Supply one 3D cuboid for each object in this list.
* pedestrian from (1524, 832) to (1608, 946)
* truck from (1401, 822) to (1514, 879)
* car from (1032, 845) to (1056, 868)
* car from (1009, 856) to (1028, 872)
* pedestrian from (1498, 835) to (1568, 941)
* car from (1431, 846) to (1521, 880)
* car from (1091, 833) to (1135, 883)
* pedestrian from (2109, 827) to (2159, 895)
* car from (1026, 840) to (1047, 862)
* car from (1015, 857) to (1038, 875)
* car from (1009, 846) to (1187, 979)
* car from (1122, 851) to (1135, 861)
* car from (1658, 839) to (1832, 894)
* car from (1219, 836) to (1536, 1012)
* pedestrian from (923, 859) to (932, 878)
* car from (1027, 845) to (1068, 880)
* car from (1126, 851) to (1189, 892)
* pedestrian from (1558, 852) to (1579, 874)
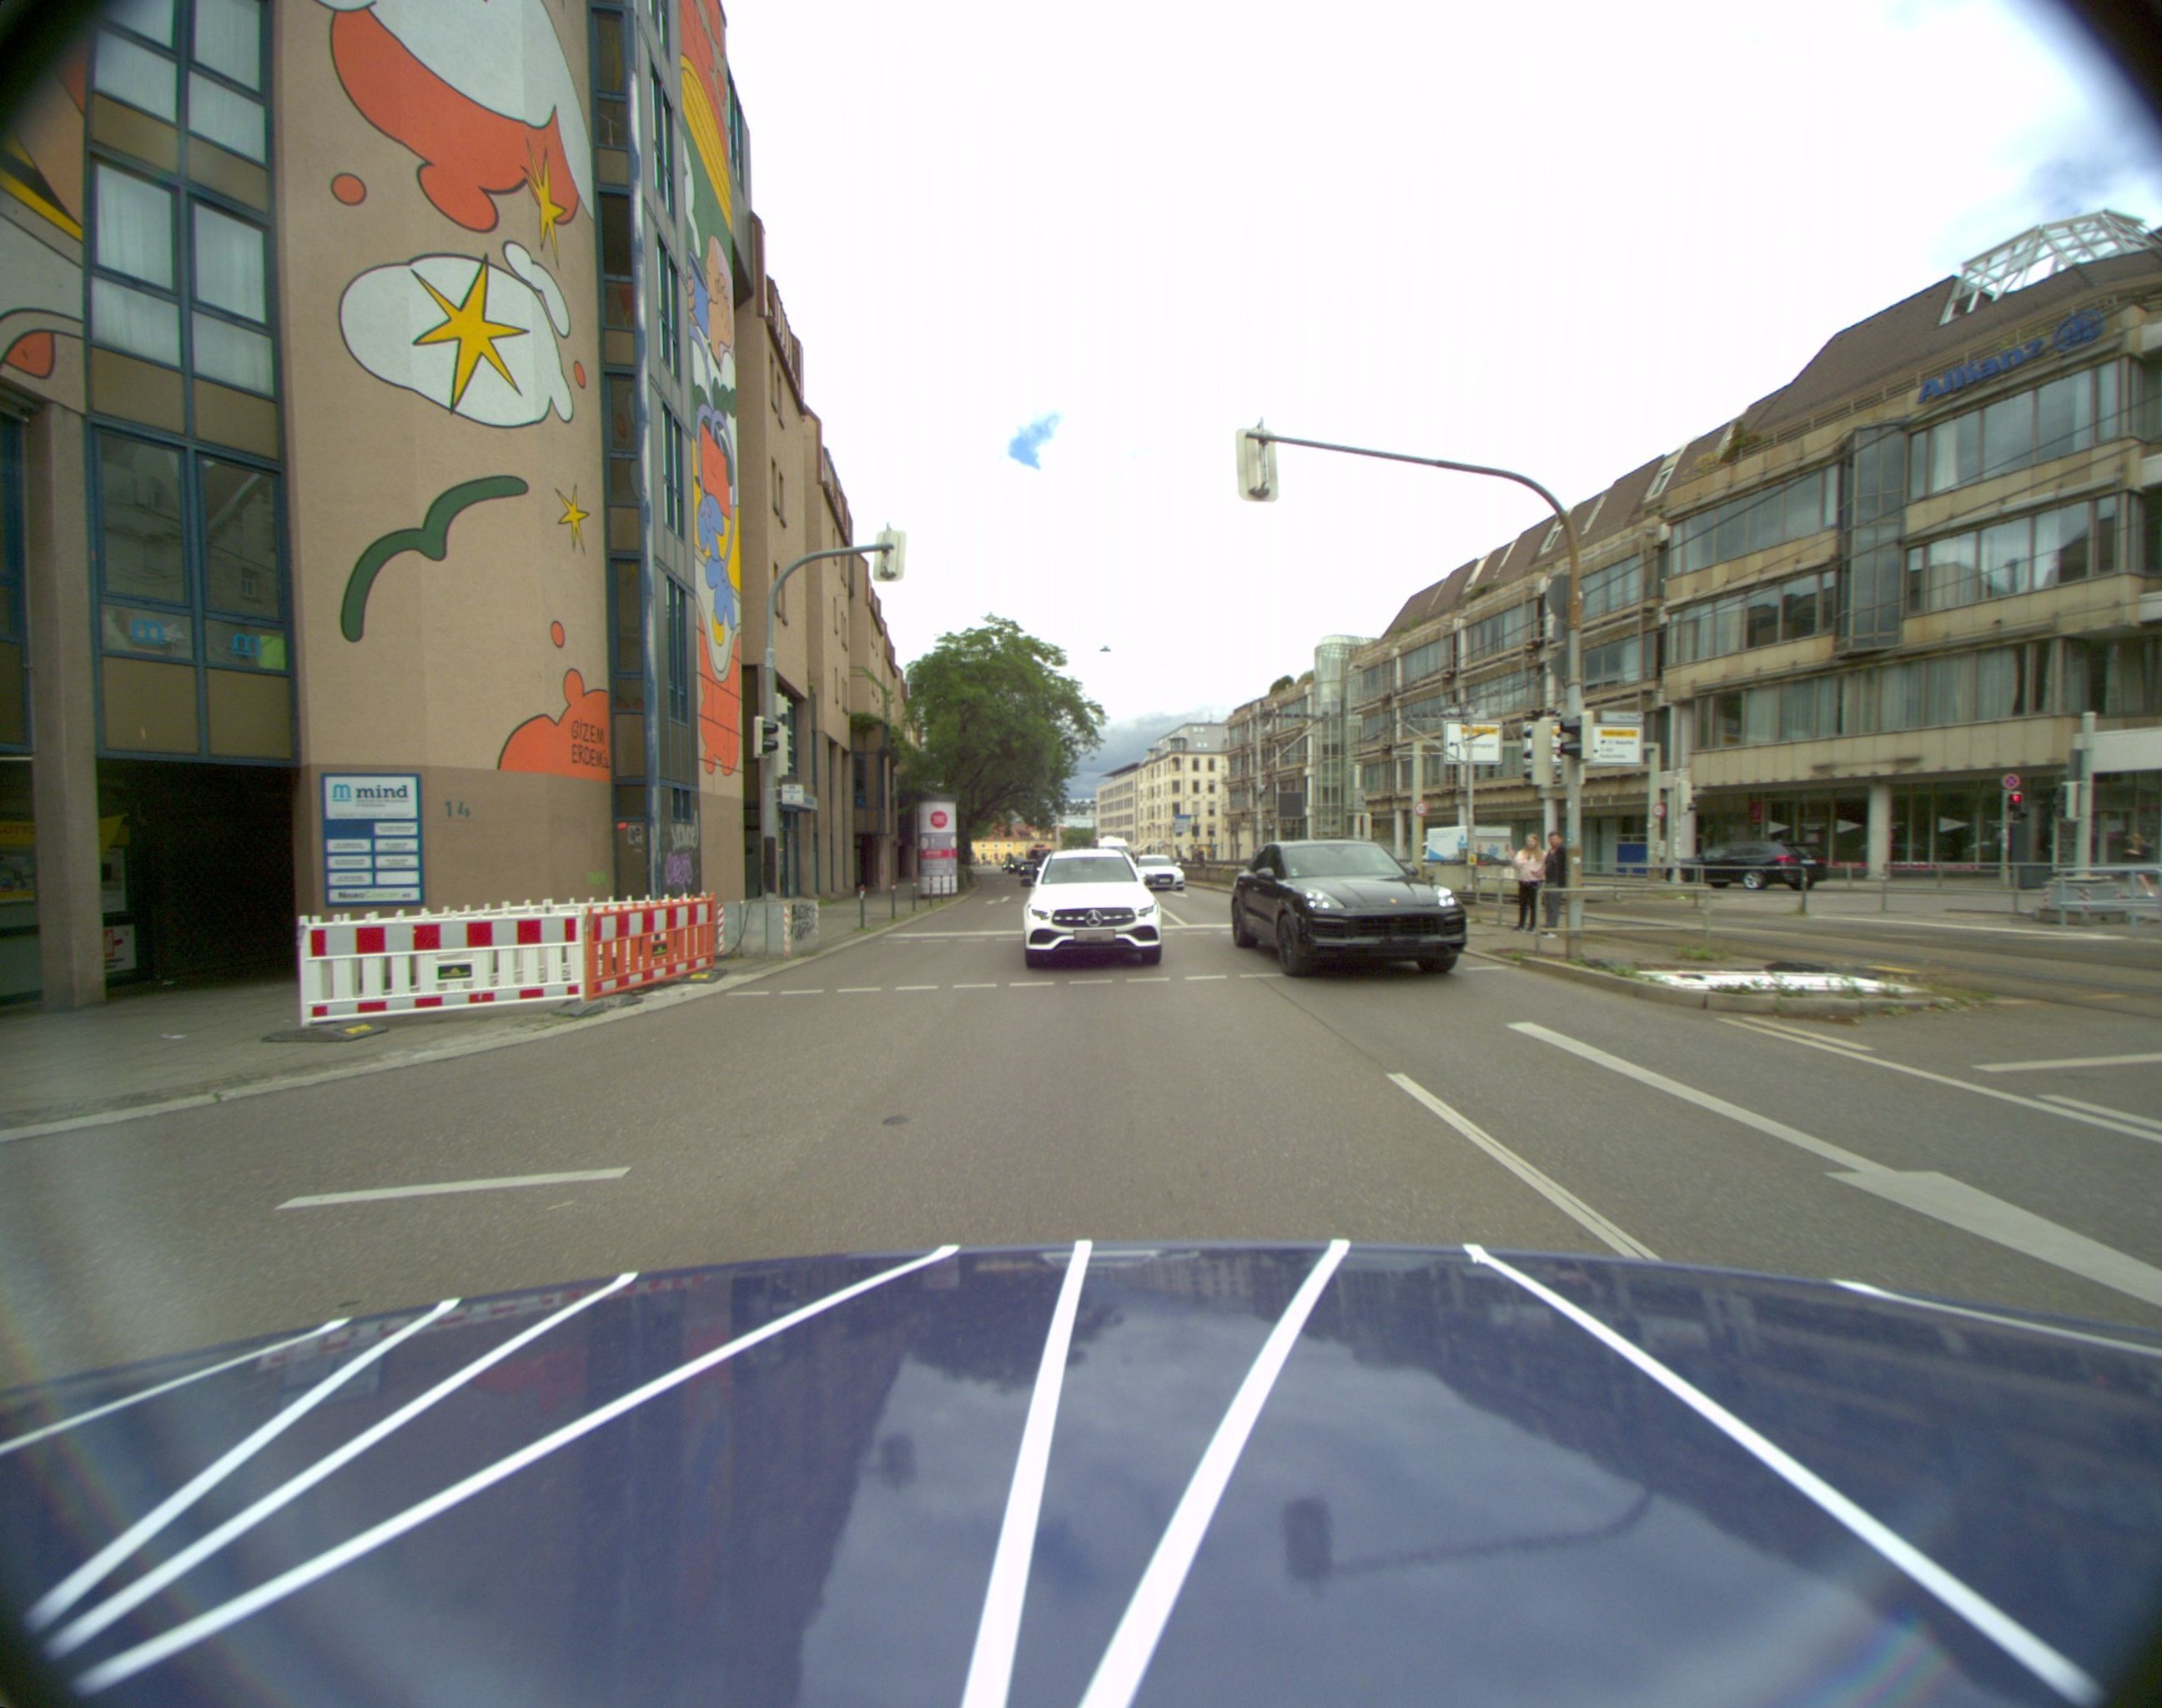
[{"bbox_3d":[7.592,0.534,11.917,0.794,1.711,0.772,-1,0,-2],"label":"pedestrian"},{"bbox_3d":[21.931,-0.196,44.768,2.274,3.058,7.369,1,0,-7],"label":"truck"},{"bbox_3d":[-4.739,0.307,96.653,2.504,2.793,5.724,-2,0,-6],"label":"car"},{"bbox_3d":[-6.809,1.065,83.254,1.950,1.521,3.998,-2,0,-4],"label":"car"},{"bbox_3d":[7.539,0.549,12.699,0.766,1.711,0.637,-1,1,-2],"label":"pedestrian"},{"bbox_3d":[19.198,0.417,37.195,1.662,1.543,4.532,-1,0,-7],"label":"car"},{"bbox_3d":[1.807,0.208,44.775,2.295,2.723,4.753,-2,1,0],"label":"car"},{"bbox_3d":[27.738,0.177,20.027,0.511,1.769,0.577,-1,1,1],"label":"pedestrian"},{"bbox_3d":[-6.086,-0.377,104.103,2.504,2.793,5.724,-2,0,-6],"label":"car"},{"bbox_3d":[-4.932,1.081,69.322,1.950,1.521,3.998,-2,0,-4],"label":"car"},{"bbox_3d":[0.050,0.730,11.586,2.061,1.599,3.924,-2,0,-8],"label":"car"},{"bbox_3d":[9.651,0.367,154.568,2.000,2.002,3.997,-1,0,-8],"label":"car"},{"bbox_3d":[23.661,0.394,27.362,1.679,1.749,4.778,-2,0,-8],"label":"car"},{"bbox_3d":[3.361,0.683,10.032,2.088,1.665,5.352,-1,0,0],"label":"car"},{"bbox_3d":[-14.212,1.331,70.358,0.711,1.701,0.687,-1,0,-1],"label":"pedestrian"},{"bbox_3d":[-2.187,0.518,51.545,2.503,2.144,5.727,-2,0,-1],"label":"car"},{"bbox_3d":[3.086,0.680,31.499,1.950,1.521,3.998,-2,0,-3],"label":"car"},{"bbox_3d":[28.997,0.519,45.175,0.733,1.258,0.739,-2,1,-7],"label":"pedestrian"}]
